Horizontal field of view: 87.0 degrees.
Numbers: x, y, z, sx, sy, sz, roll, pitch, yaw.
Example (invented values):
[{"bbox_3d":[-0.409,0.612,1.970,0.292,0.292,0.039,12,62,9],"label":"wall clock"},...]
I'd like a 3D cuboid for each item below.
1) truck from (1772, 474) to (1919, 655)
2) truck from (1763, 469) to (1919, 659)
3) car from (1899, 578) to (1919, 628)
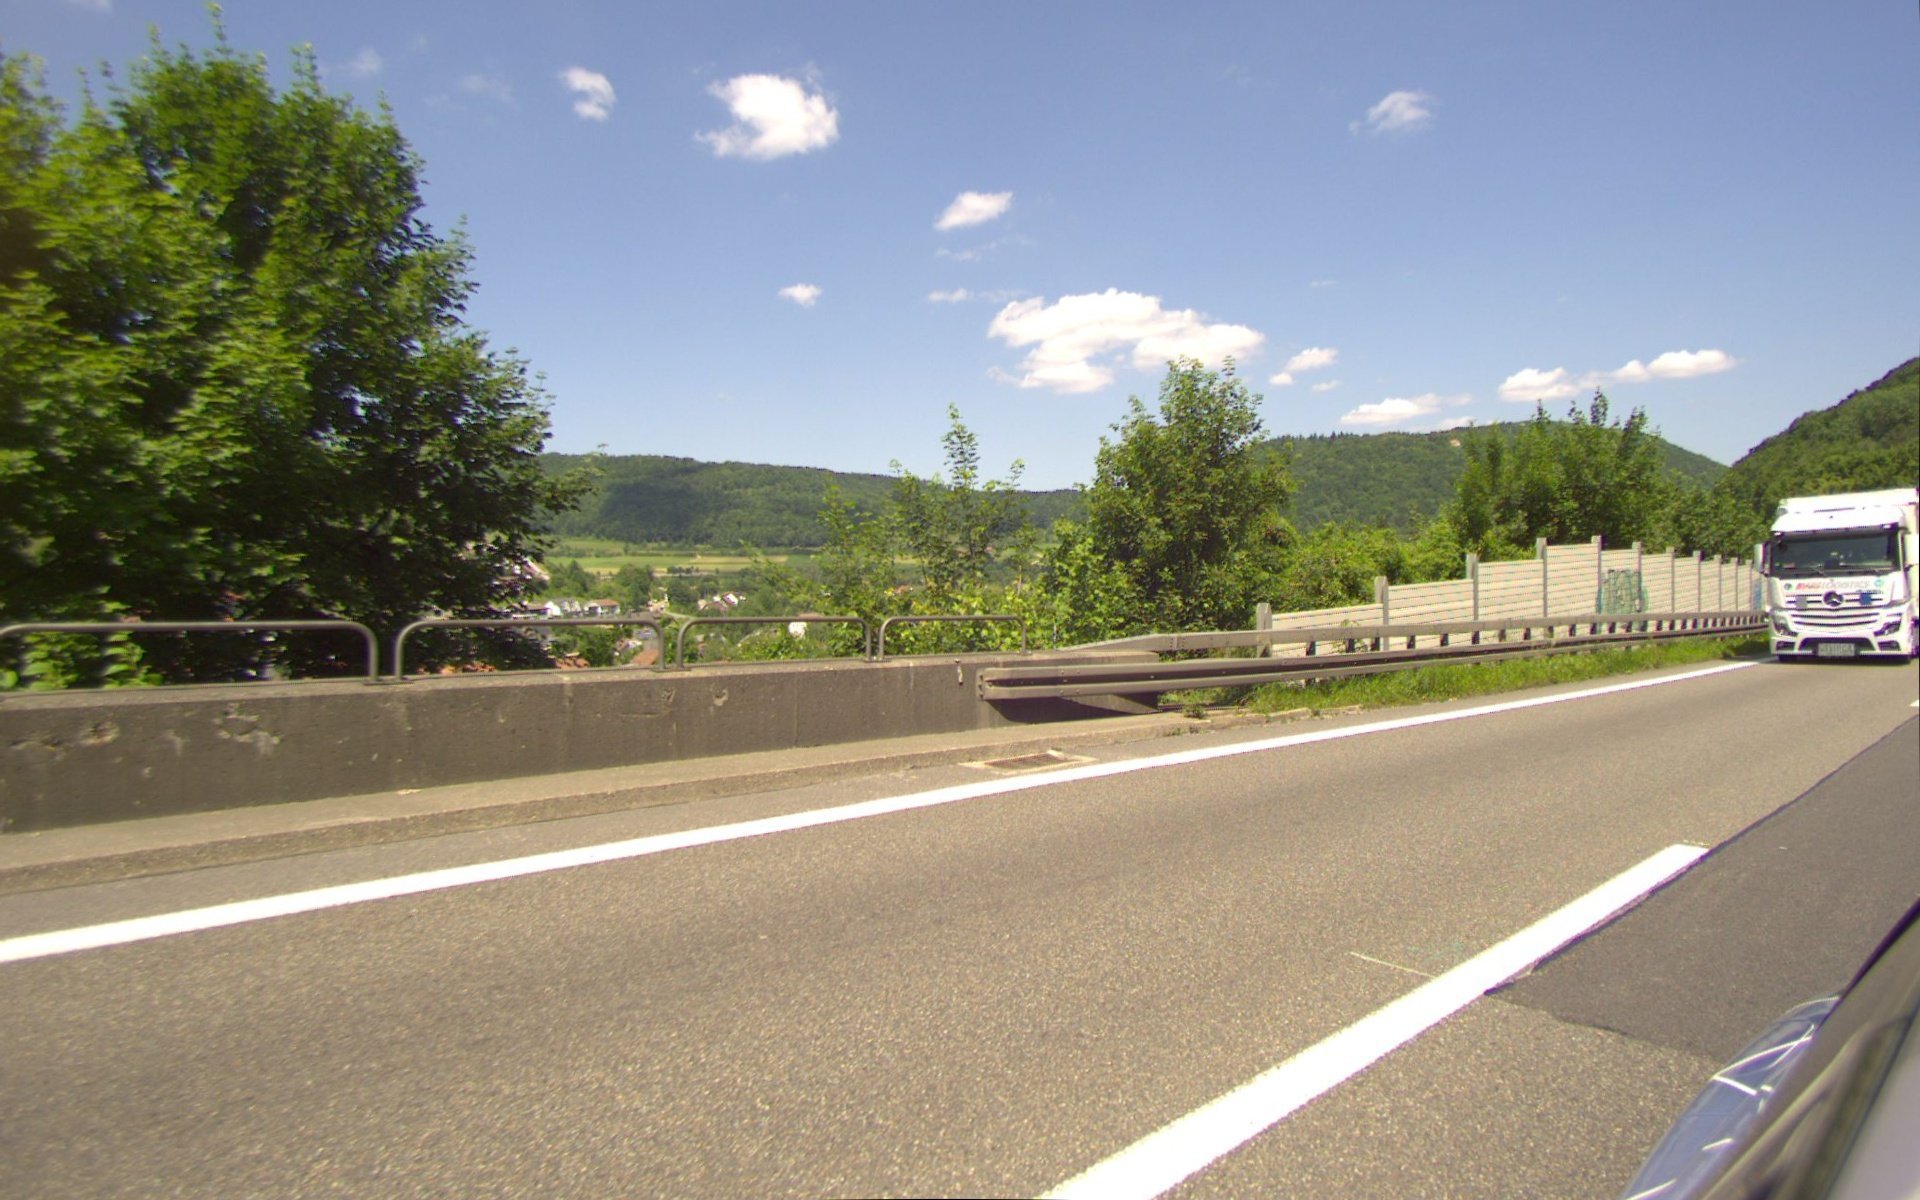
[{"bbox_3d":[25.795,-0.872,28.521,11.847,4.201,2.856,-1,-1,-44],"label":"truck"},{"bbox_3d":[22.225,-0.813,24.995,6.708,4.089,2.760,0,1,-43],"label":"truck"},{"bbox_3d":[41.721,0.082,43.326,3.935,2.039,1.994,-2,0,-44],"label":"car"}]
